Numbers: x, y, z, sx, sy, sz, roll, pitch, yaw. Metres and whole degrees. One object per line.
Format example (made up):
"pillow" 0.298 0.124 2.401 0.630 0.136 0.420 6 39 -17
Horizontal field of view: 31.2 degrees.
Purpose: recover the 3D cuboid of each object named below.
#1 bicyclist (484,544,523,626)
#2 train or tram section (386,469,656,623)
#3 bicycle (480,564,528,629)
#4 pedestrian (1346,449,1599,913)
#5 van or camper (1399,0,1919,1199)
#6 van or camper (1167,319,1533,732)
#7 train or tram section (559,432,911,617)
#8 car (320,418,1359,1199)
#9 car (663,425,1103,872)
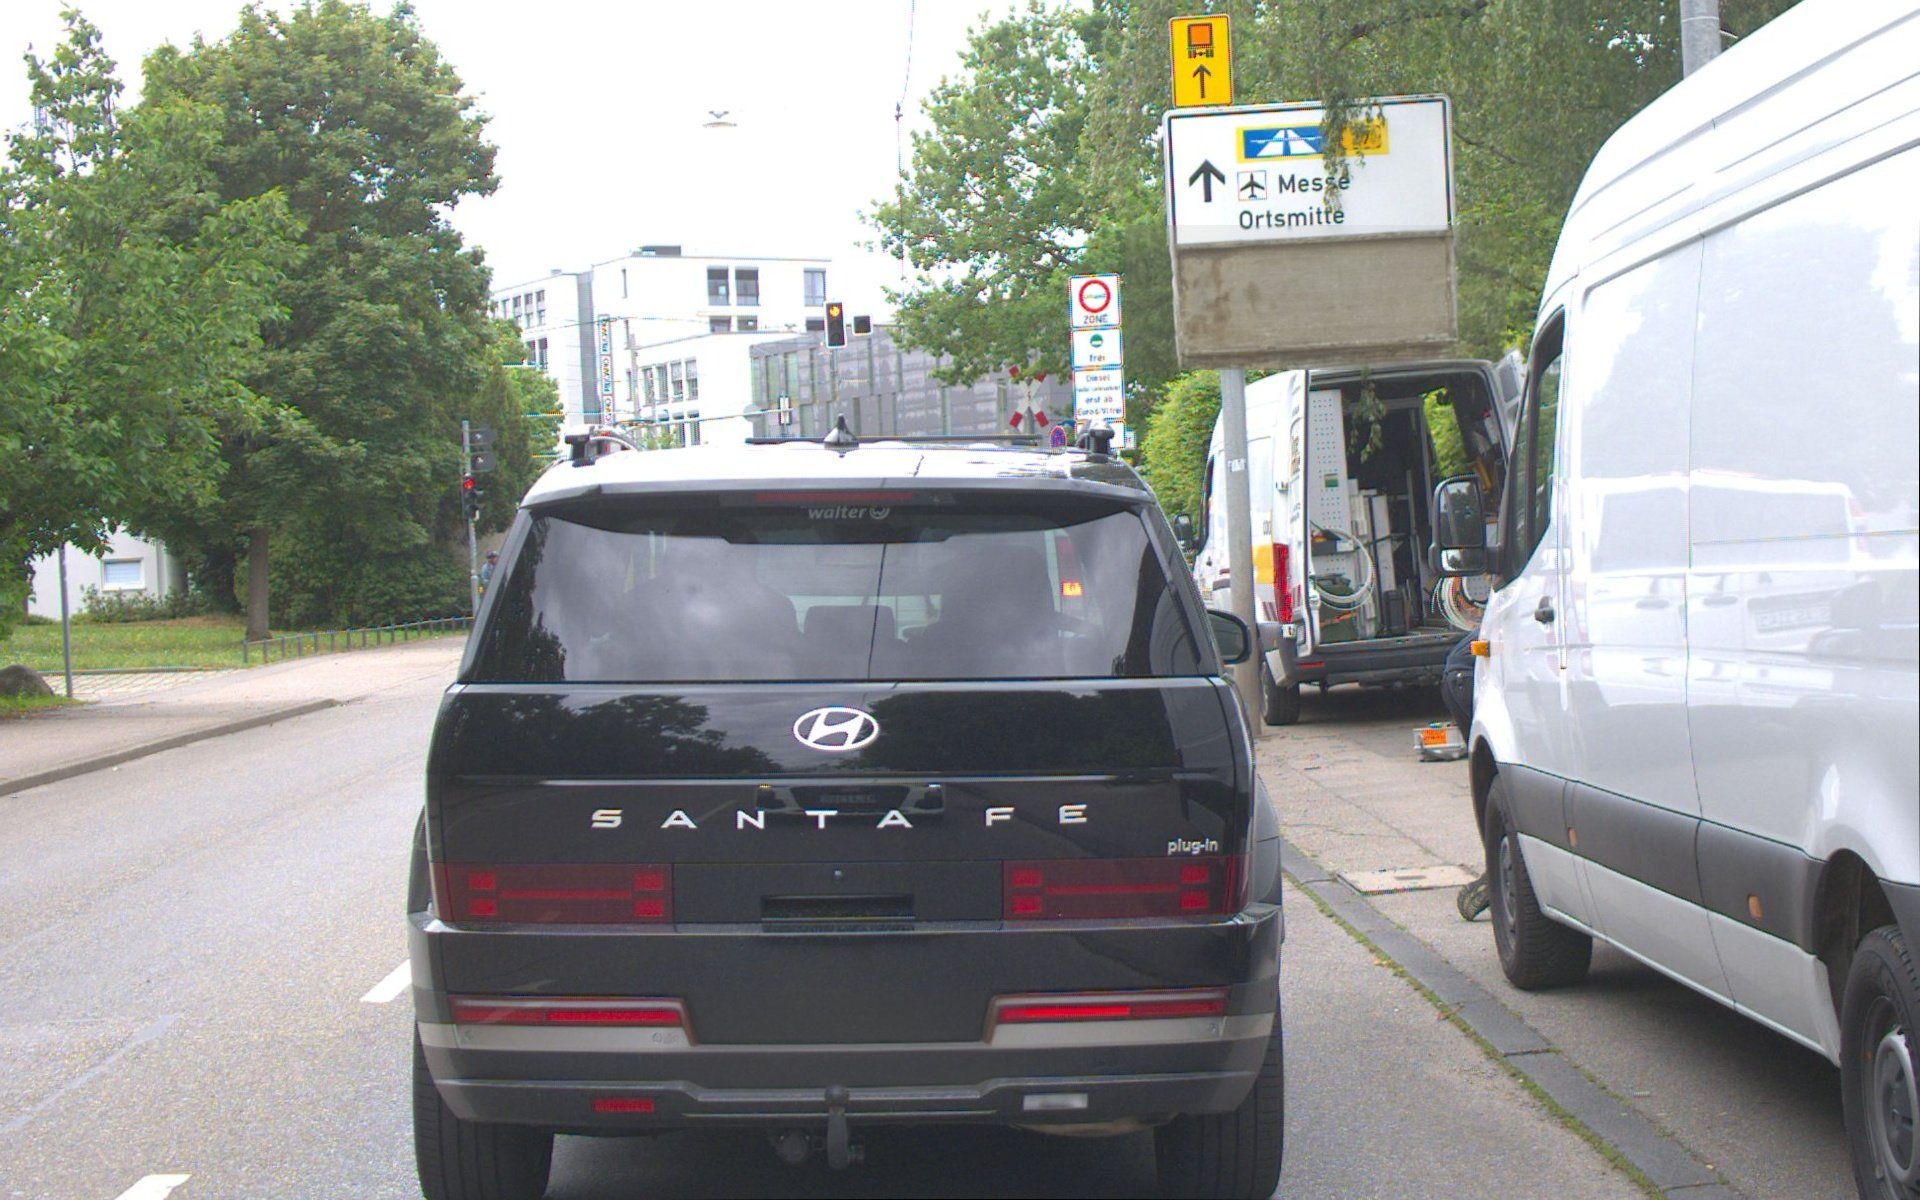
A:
"bicyclist" -9.328 -0.294 70.257 0.675 1.653 0.859 0 -1 -14
"train or tram section" -14.791 -1.592 113.412 3.192 4.507 18.686 0 -1 -25
"bicycle" -9.328 -0.057 70.224 0.675 1.275 2.501 0 -1 -14
"pedestrian" 2.011 0.311 13.517 0.617 1.737 0.605 -5 1 -23
"van or camper" 2.588 -0.065 8.088 1.963 2.619 6.359 -4 1 -1
"van or camper" 2.915 -0.575 26.913 1.963 2.787 5.287 -4 1 -1
"train or tram section" -6.717 -1.888 96.514 3.192 4.507 18.686 0 -1 -25
"car" -0.274 0.484 8.579 1.963 1.705 4.000 -1 1 -1
"car" -0.395 0.184 17.559 1.963 1.994 4.000 -1 1 -1
